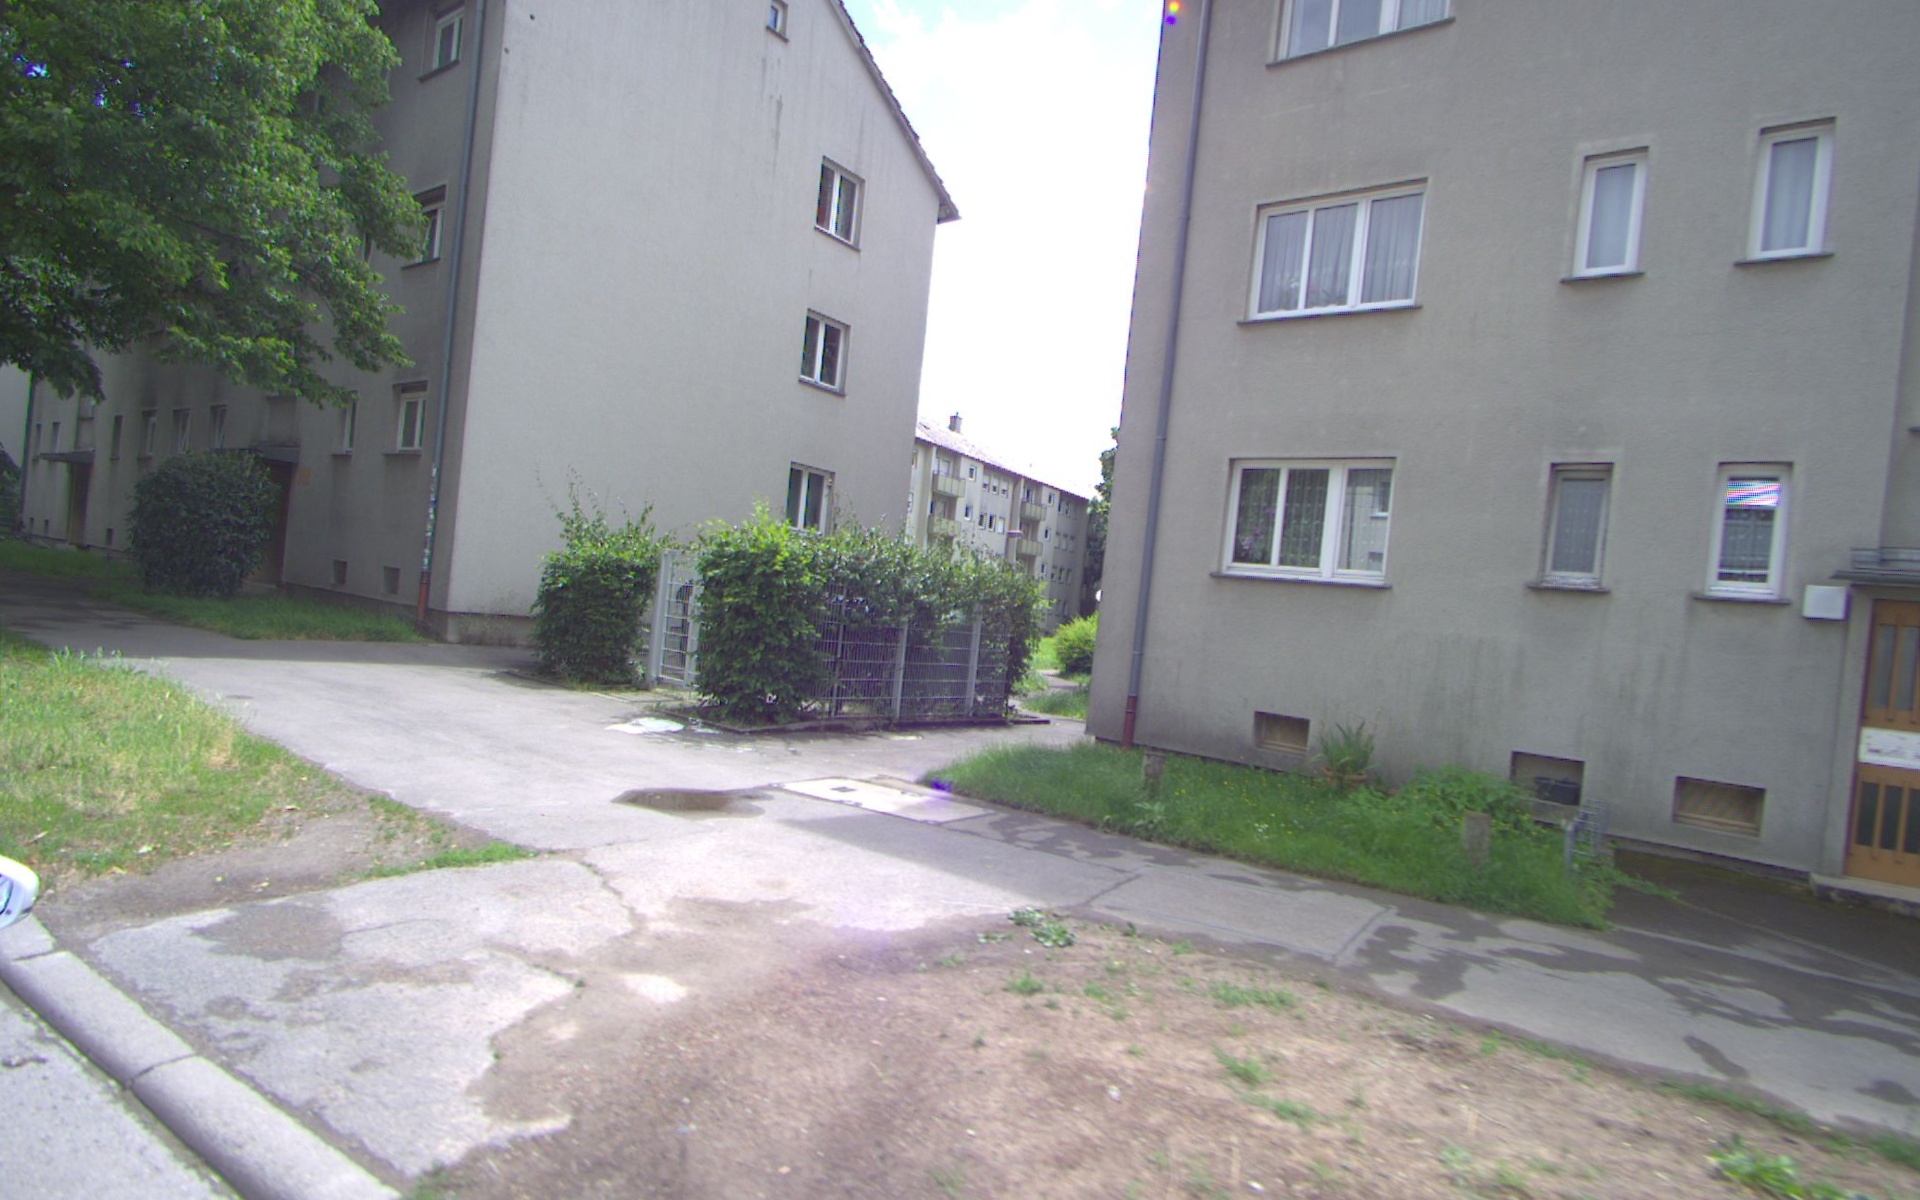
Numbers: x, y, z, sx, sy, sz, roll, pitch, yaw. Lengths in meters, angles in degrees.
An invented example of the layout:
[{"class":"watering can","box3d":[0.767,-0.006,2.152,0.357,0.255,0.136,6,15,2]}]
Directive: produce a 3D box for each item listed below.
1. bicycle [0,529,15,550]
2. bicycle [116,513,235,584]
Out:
[{"class":"bicycle","box3d":[-26.180,-1.731,26.203,0.664,0.513,2.202,5,-3,42]},{"class":"bicycle","box3d":[-14.798,-0.962,19.004,1.722,1.093,0.436,7,-1,-4]}]
